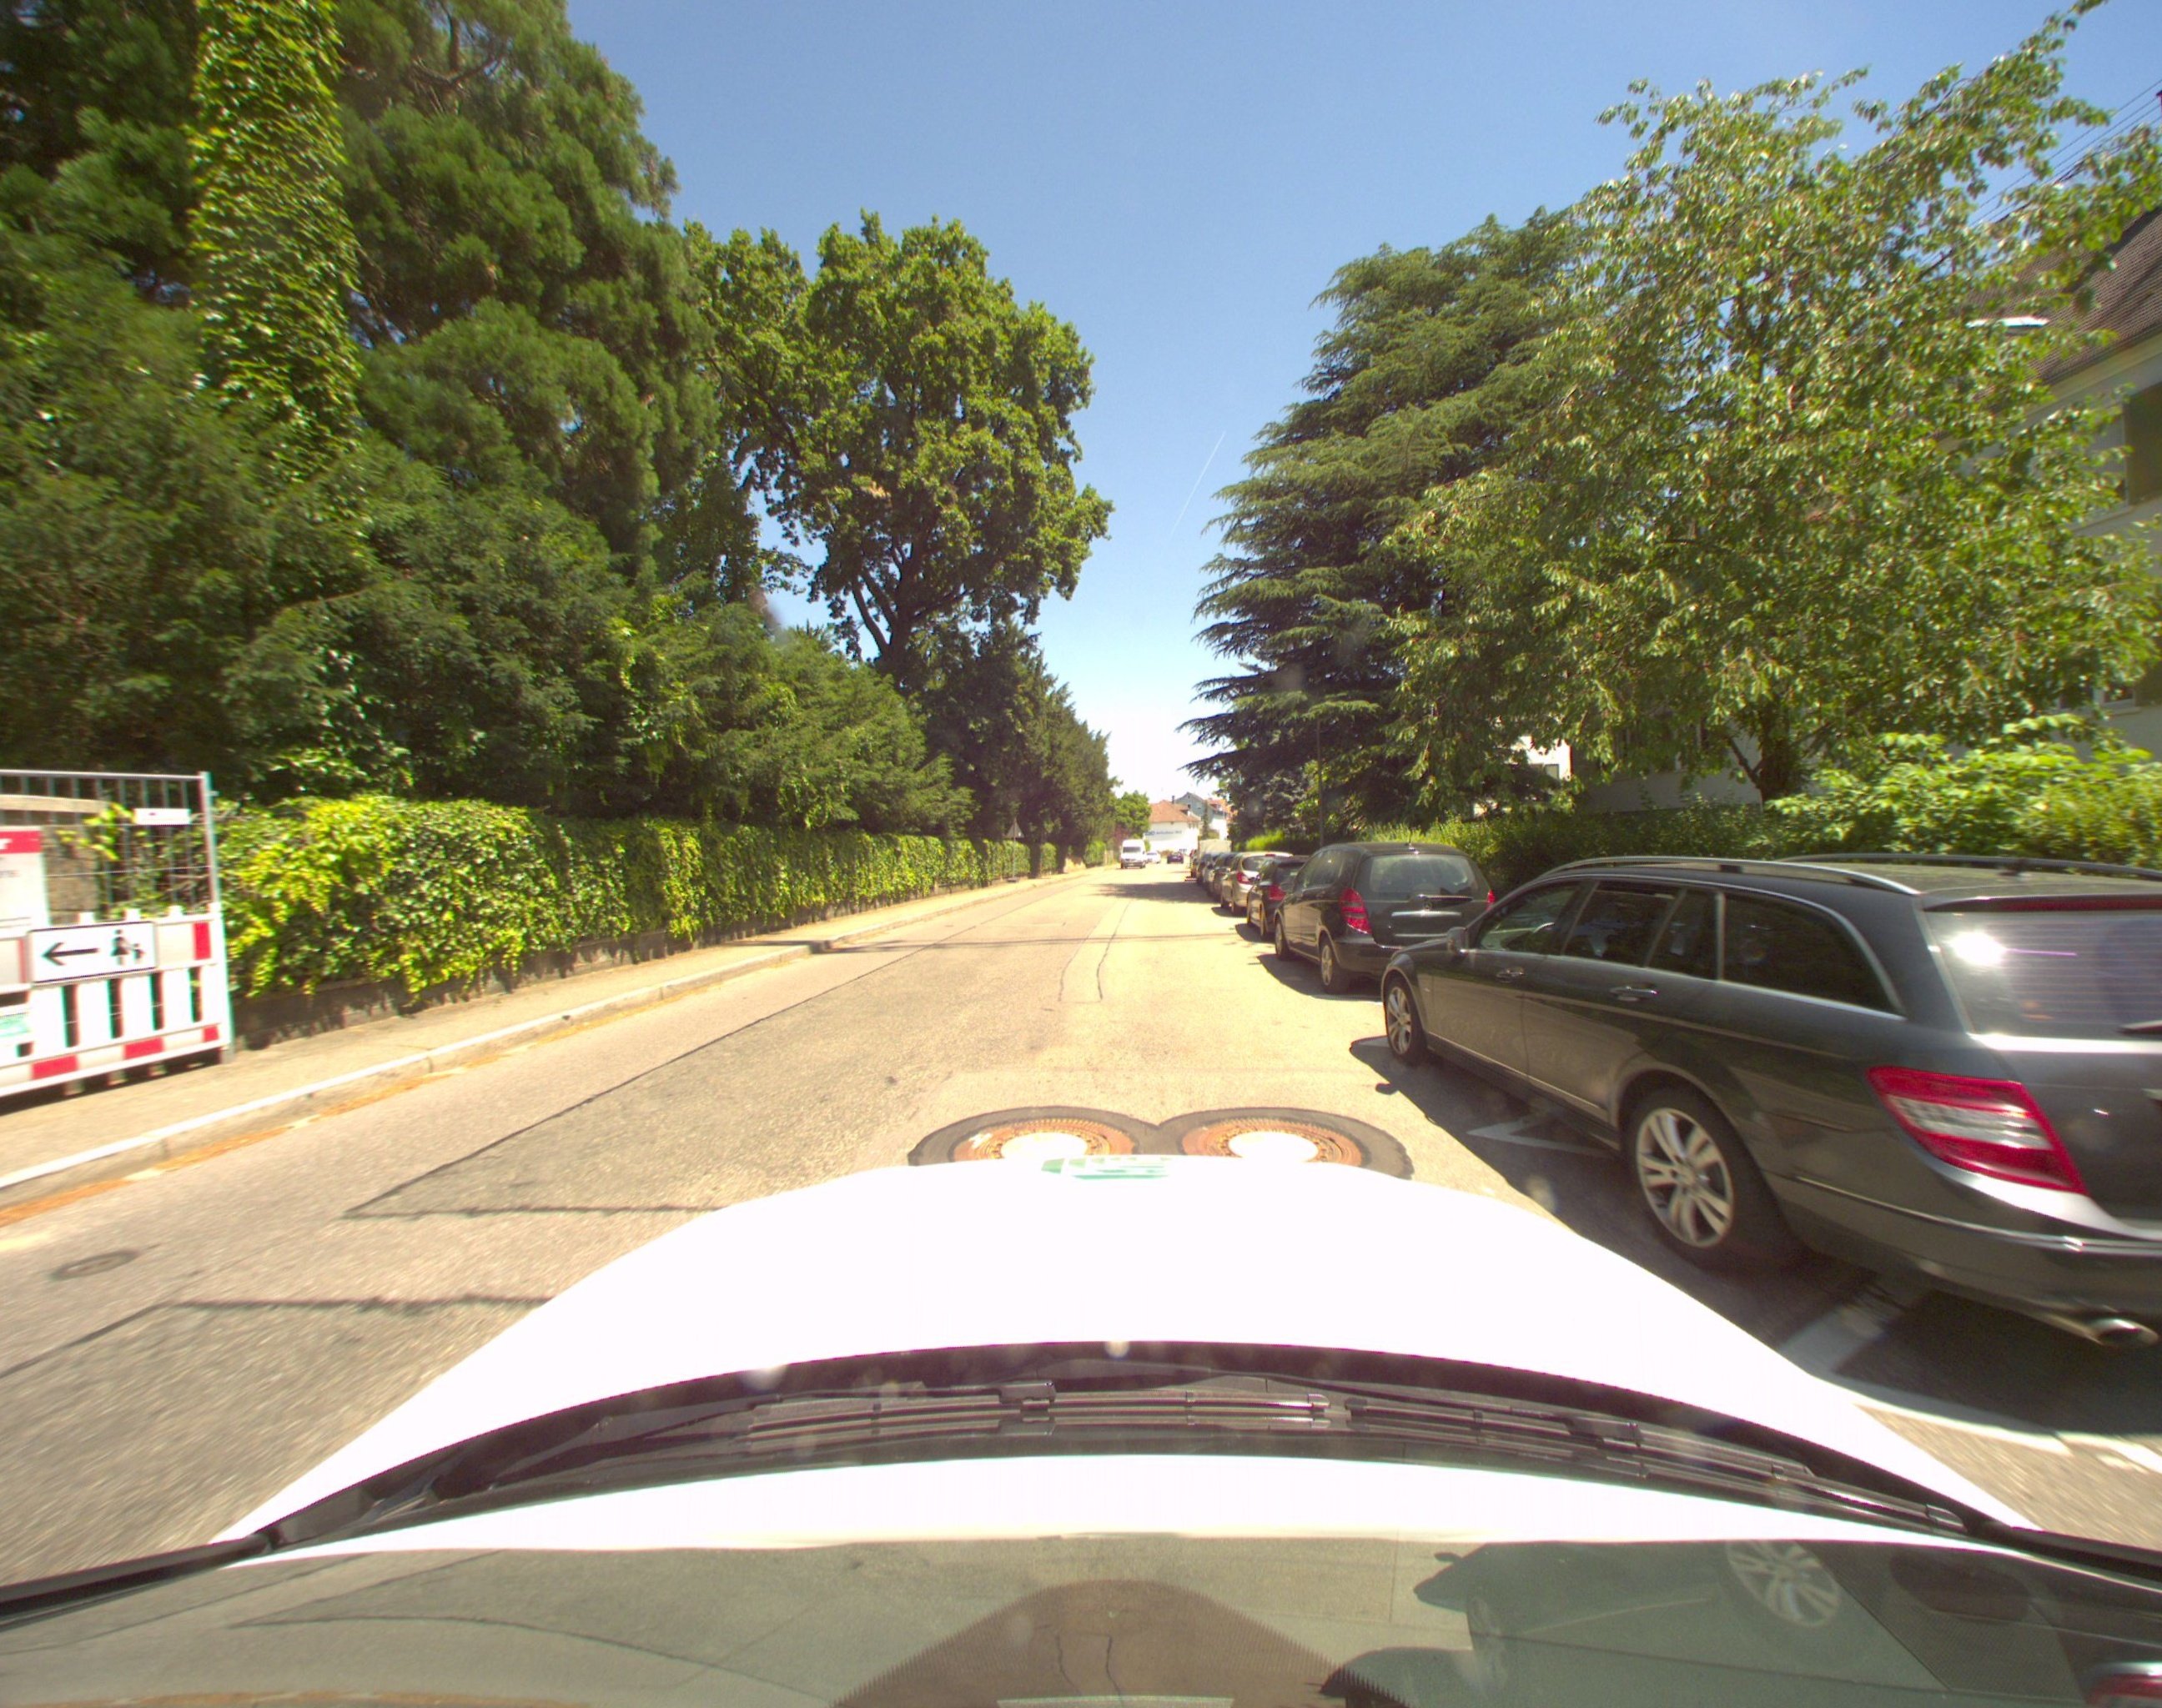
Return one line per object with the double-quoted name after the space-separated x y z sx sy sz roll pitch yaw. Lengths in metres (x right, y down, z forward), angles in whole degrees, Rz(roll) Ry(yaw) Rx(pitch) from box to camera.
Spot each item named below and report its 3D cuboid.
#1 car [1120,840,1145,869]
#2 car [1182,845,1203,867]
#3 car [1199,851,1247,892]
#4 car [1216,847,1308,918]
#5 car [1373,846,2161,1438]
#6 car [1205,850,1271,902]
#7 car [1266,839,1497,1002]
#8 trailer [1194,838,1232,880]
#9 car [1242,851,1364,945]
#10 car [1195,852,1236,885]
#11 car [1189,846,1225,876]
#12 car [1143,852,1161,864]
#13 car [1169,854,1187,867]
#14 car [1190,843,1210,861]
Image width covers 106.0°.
4.741 0.059 74.365 1.983 2.533 5.905 -1 0 6 "car"
9.713 0.161 70.842 1.736 1.782 4.553 0 0 8 "car"
5.504 0.644 31.834 1.606 1.469 4.072 -1 0 7 "car"
4.320 0.610 19.956 1.607 1.512 4.069 1 1 4 "car"
3.028 0.703 4.101 1.656 1.432 4.204 -1 0 1 "car"
4.783 0.622 25.273 1.606 1.451 4.382 0 0 6 "car"
3.378 0.632 9.942 1.574 1.576 4.012 -1 0 4 "car"
6.769 0.239 41.971 1.671 2.068 3.714 0 0 5 "trailer"
3.918 0.699 14.930 1.573 1.443 4.016 2 0 7 "car"
5.943 0.627 36.369 1.606 1.396 4.266 0 0 6 "car"
7.172 0.379 46.574 1.763 1.632 4.612 0 1 5 "car"
8.656 0.442 98.936 1.853 1.383 4.616 -1 1 9 "car"
11.262 0.750 94.084 1.783 1.510 4.012 1 0 11 "car"
11.817 -0.169 80.786 1.892 1.728 4.402 0 0 8 "car"
